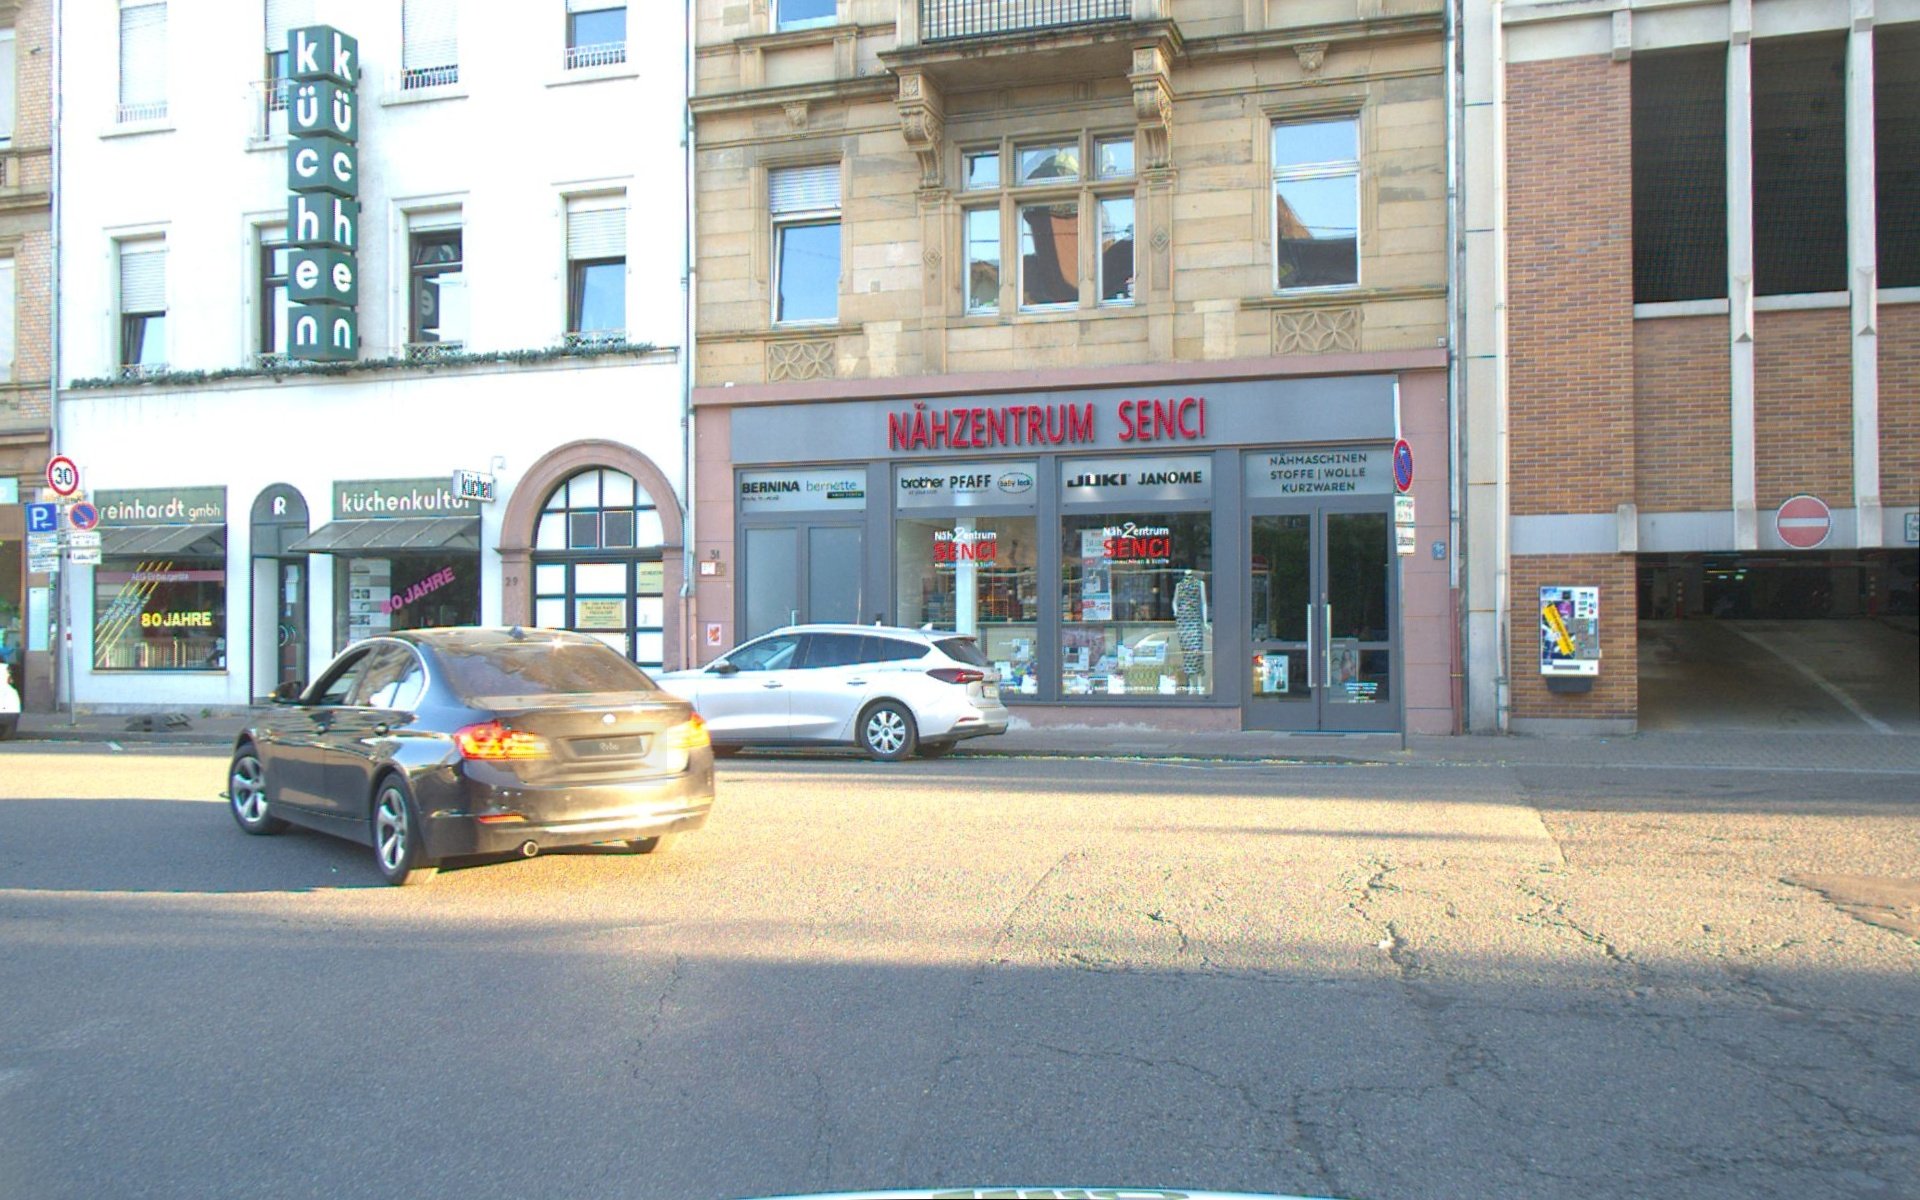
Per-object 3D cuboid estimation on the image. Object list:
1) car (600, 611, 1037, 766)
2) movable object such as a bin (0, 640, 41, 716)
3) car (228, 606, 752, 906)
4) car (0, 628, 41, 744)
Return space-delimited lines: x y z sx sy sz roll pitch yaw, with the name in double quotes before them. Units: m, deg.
"car" -1.584 0.953 18.966 4.568 1.562 2.001 1 -1 17
"movable object such as a bin" -15.875 1.254 26.943 1.364 1.207 0.869 -1 -1 18
"car" -3.186 0.856 10.632 1.875 1.518 4.148 1 -2 -37
"car" -15.290 1.180 23.500 3.903 1.613 1.706 1 -1 19
